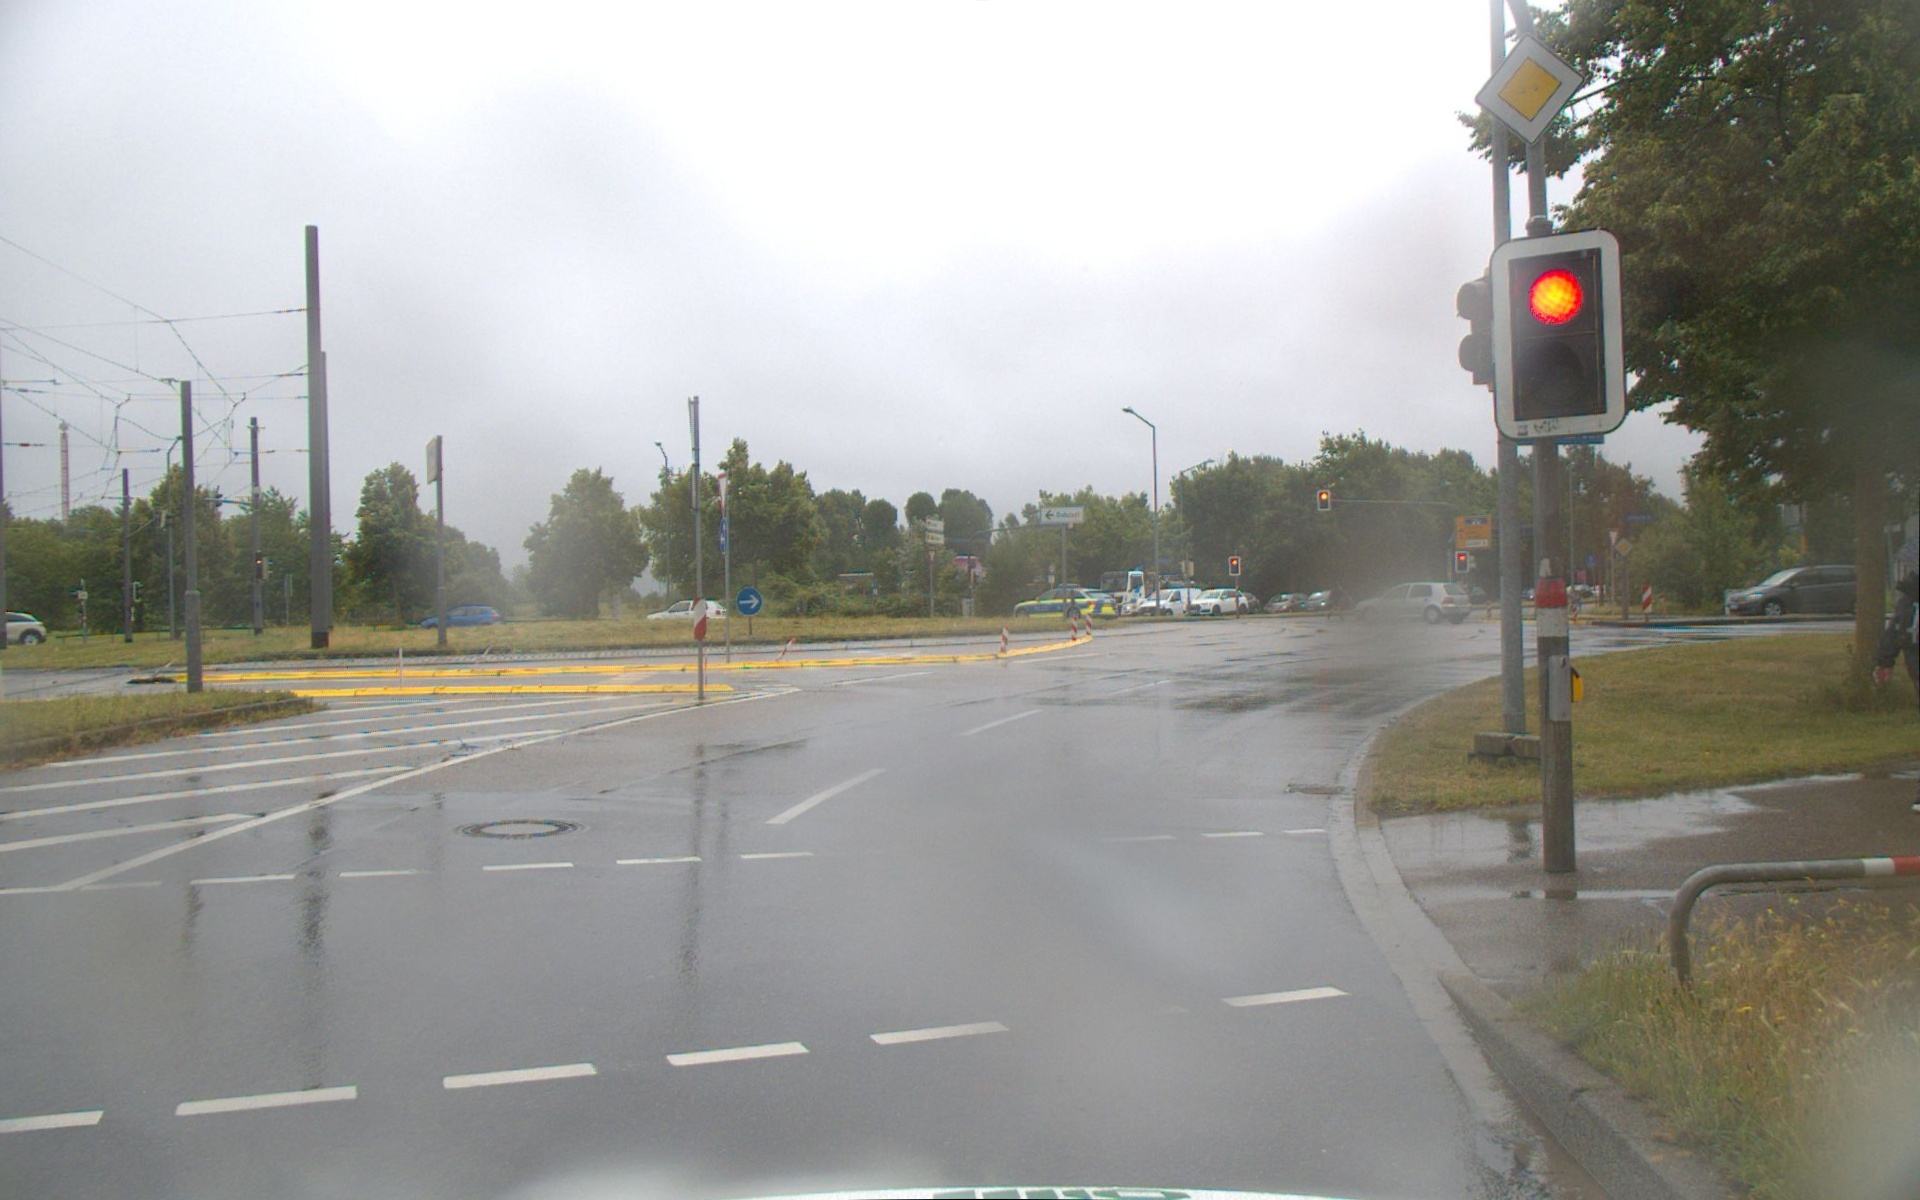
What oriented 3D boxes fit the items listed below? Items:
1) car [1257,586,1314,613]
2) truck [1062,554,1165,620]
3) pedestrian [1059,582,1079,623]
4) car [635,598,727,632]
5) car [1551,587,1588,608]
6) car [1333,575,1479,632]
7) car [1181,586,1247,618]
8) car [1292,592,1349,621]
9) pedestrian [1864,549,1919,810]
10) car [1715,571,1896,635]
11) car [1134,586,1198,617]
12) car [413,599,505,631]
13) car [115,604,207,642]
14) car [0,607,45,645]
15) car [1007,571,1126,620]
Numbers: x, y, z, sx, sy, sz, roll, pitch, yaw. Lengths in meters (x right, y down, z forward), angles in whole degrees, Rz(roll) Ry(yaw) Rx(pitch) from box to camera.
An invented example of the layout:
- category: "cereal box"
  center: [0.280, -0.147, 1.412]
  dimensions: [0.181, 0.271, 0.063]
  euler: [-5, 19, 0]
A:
- category: "car"
  center: [21.433, -0.034, 108.753]
  dimensions: [1.769, 1.691, 4.386]
  euler: [-1, 0, 40]
- category: "truck"
  center: [7.013, -0.538, 74.490]
  dimensions: [2.411, 2.733, 8.058]
  euler: [1, -1, 22]
- category: "pedestrian"
  center: [3.584, 0.092, 54.383]
  dimensions: [0.445, 1.327, 0.484]
  euler: [-1, 0, 38]
- category: "car"
  center: [-13.102, 0.700, 77.768]
  dimensions: [3.889, 1.479, 1.625]
  euler: [-1, 0, 8]
- category: "car"
  center: [52.179, -0.216, 141.585]
  dimensions: [1.769, 1.691, 3.979]
  euler: [0, -1, 40]
- category: "car"
  center: [15.695, 0.132, 58.356]
  dimensions: [1.982, 1.884, 4.706]
  euler: [2, -1, -40]
- category: "car"
  center: [14.581, 0.116, 94.811]
  dimensions: [1.769, 1.691, 4.386]
  euler: [0, -1, 40]
- category: "car"
  center: [23.011, 0.426, 105.491]
  dimensions: [1.769, 1.691, 4.386]
  euler: [0, -1, 40]
- category: "pedestrian"
  center: [6.010, 0.476, 10.053]
  dimensions: [0.608, 1.549, 0.741]
  euler: [1, 0, -2]
- category: "car"
  center: [26.634, 0.098, 52.225]
  dimensions: [4.659, 1.884, 2.001]
  euler: [1, -1, 7]
- category: "car"
  center: [12.016, 0.088, 96.381]
  dimensions: [1.769, 1.691, 4.112]
  euler: [0, -1, 40]
- category: "car"
  center: [-23.987, 0.708, 79.271]
  dimensions: [3.894, 1.479, 1.623]
  euler: [-1, 0, -2]
- category: "car"
  center: [-40.568, 1.173, 84.043]
  dimensions: [1.644, 1.848, 3.994]
  euler: [1, -1, 28]
- category: "car"
  center: [-39.274, 1.069, 66.496]
  dimensions: [1.593, 1.479, 4.091]
  euler: [-1, 0, 40]
- category: "car"
  center: [4.241, -0.156, 66.516]
  dimensions: [1.984, 1.883, 4.701]
  euler: [-1, 0, -43]
